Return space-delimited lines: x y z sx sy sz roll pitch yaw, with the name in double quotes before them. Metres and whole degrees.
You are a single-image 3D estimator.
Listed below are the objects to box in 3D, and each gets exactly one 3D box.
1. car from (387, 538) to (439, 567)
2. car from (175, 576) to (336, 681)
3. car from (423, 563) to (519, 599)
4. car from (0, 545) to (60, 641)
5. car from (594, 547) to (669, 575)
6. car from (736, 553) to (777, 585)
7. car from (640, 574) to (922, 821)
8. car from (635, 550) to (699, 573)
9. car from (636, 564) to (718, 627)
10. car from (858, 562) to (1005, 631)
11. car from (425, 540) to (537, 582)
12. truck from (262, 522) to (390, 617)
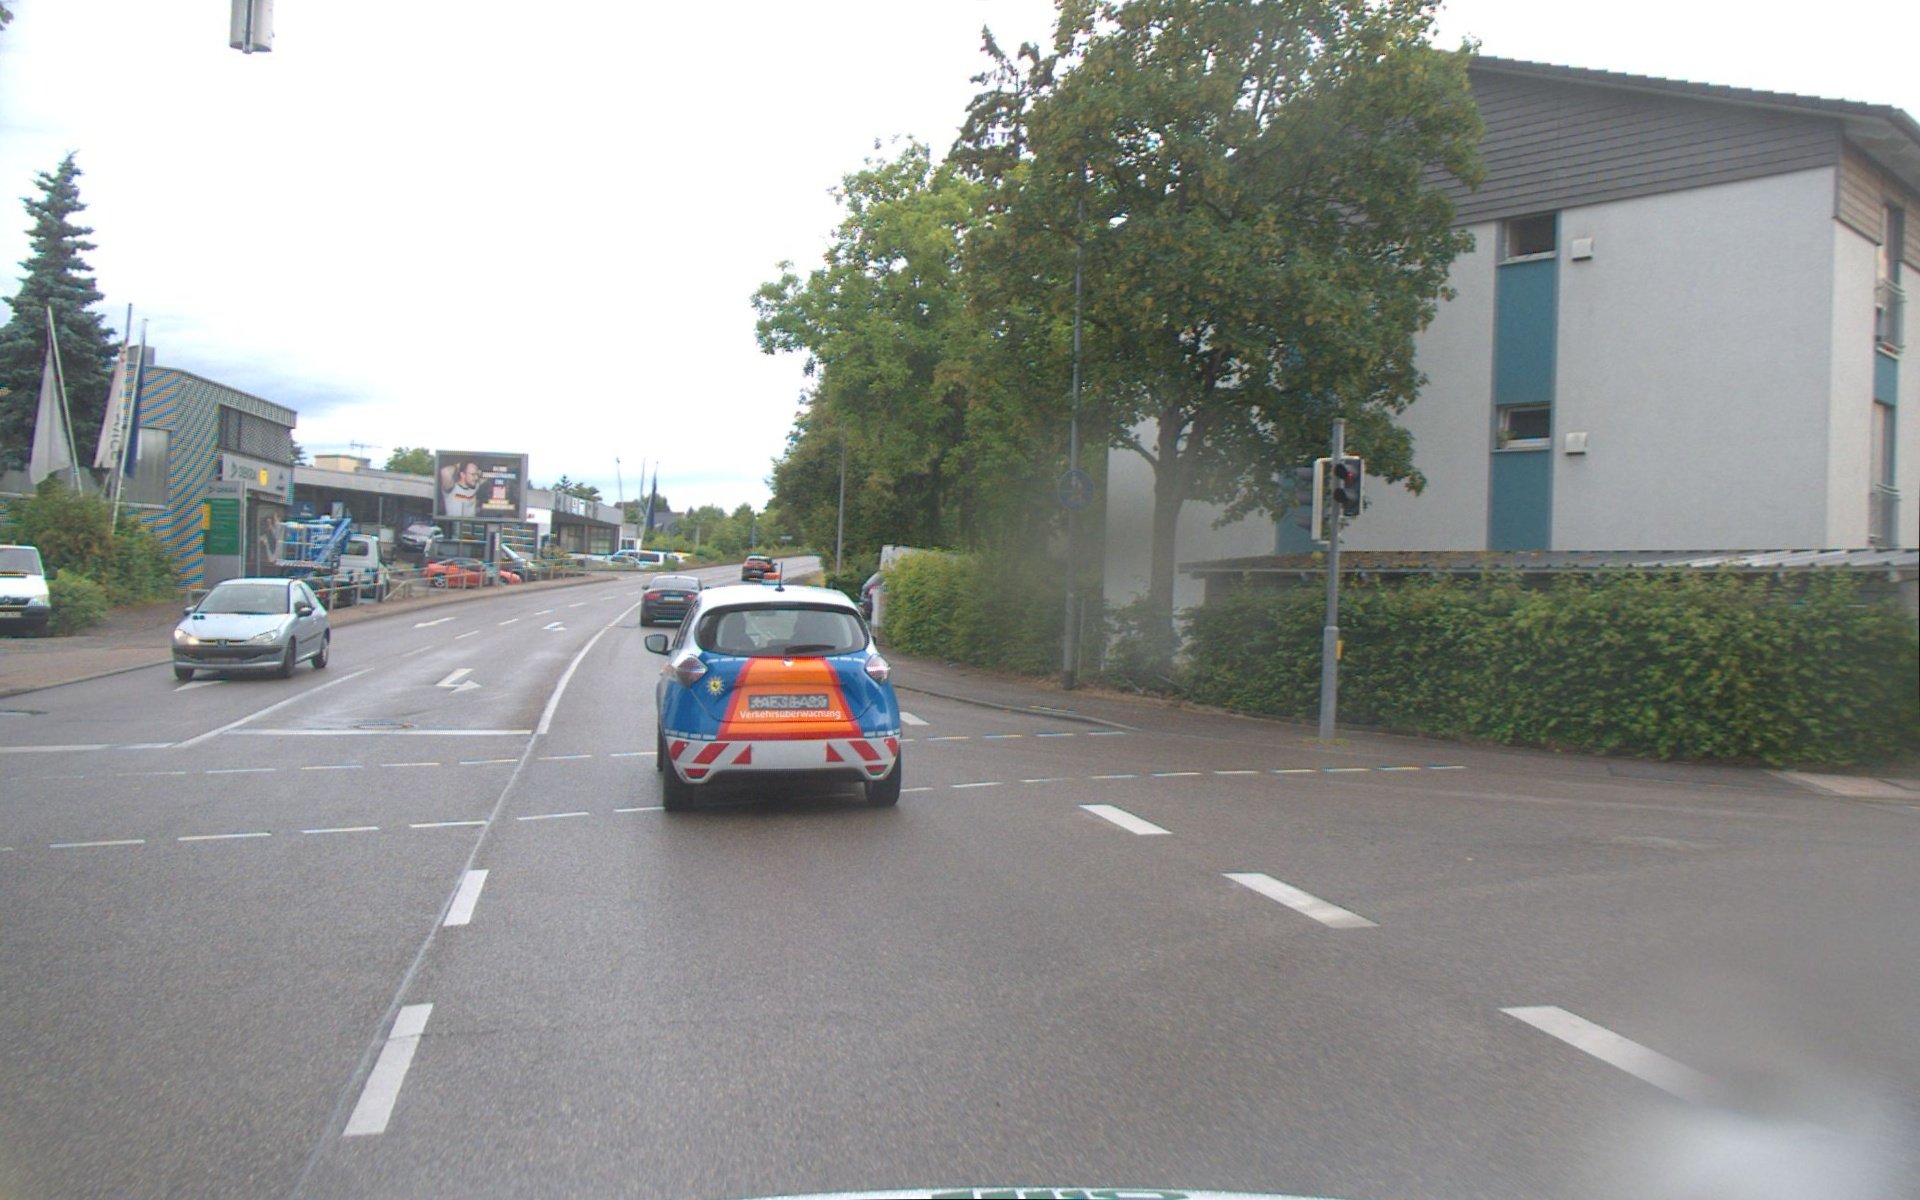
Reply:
"car" -33.009 -2.834 99.962 1.558 1.542 4.001 2 0 3
"car" -10.733 0.391 25.423 1.559 1.428 3.696 2 1 -12
"car" -21.469 -0.835 72.627 3.926 1.400 1.805 2 0 -19
"car" -21.487 -0.206 36.807 1.979 2.029 3.948 1 1 -37
"car" -22.380 -2.643 112.839 4.718 1.652 1.792 2 0 -36
"car" -11.712 -1.770 95.476 1.953 1.713 3.998 2 0 -2
"car" -1.548 0.663 12.936 1.716 1.609 3.986 1 -1 -13
"car" -23.444 -3.066 132.356 4.718 1.652 1.792 2 0 -36
"car" -7.837 -0.162 46.046 1.955 1.601 3.995 2 1 -6
"car" -0.819 -0.114 45.635 3.909 1.753 1.998 2 1 -5
"car" -21.877 -1.766 75.658 4.670 1.652 1.810 2 0 -10
"truck" -18.712 -0.913 49.082 1.954 2.583 5.554 2 1 -5
